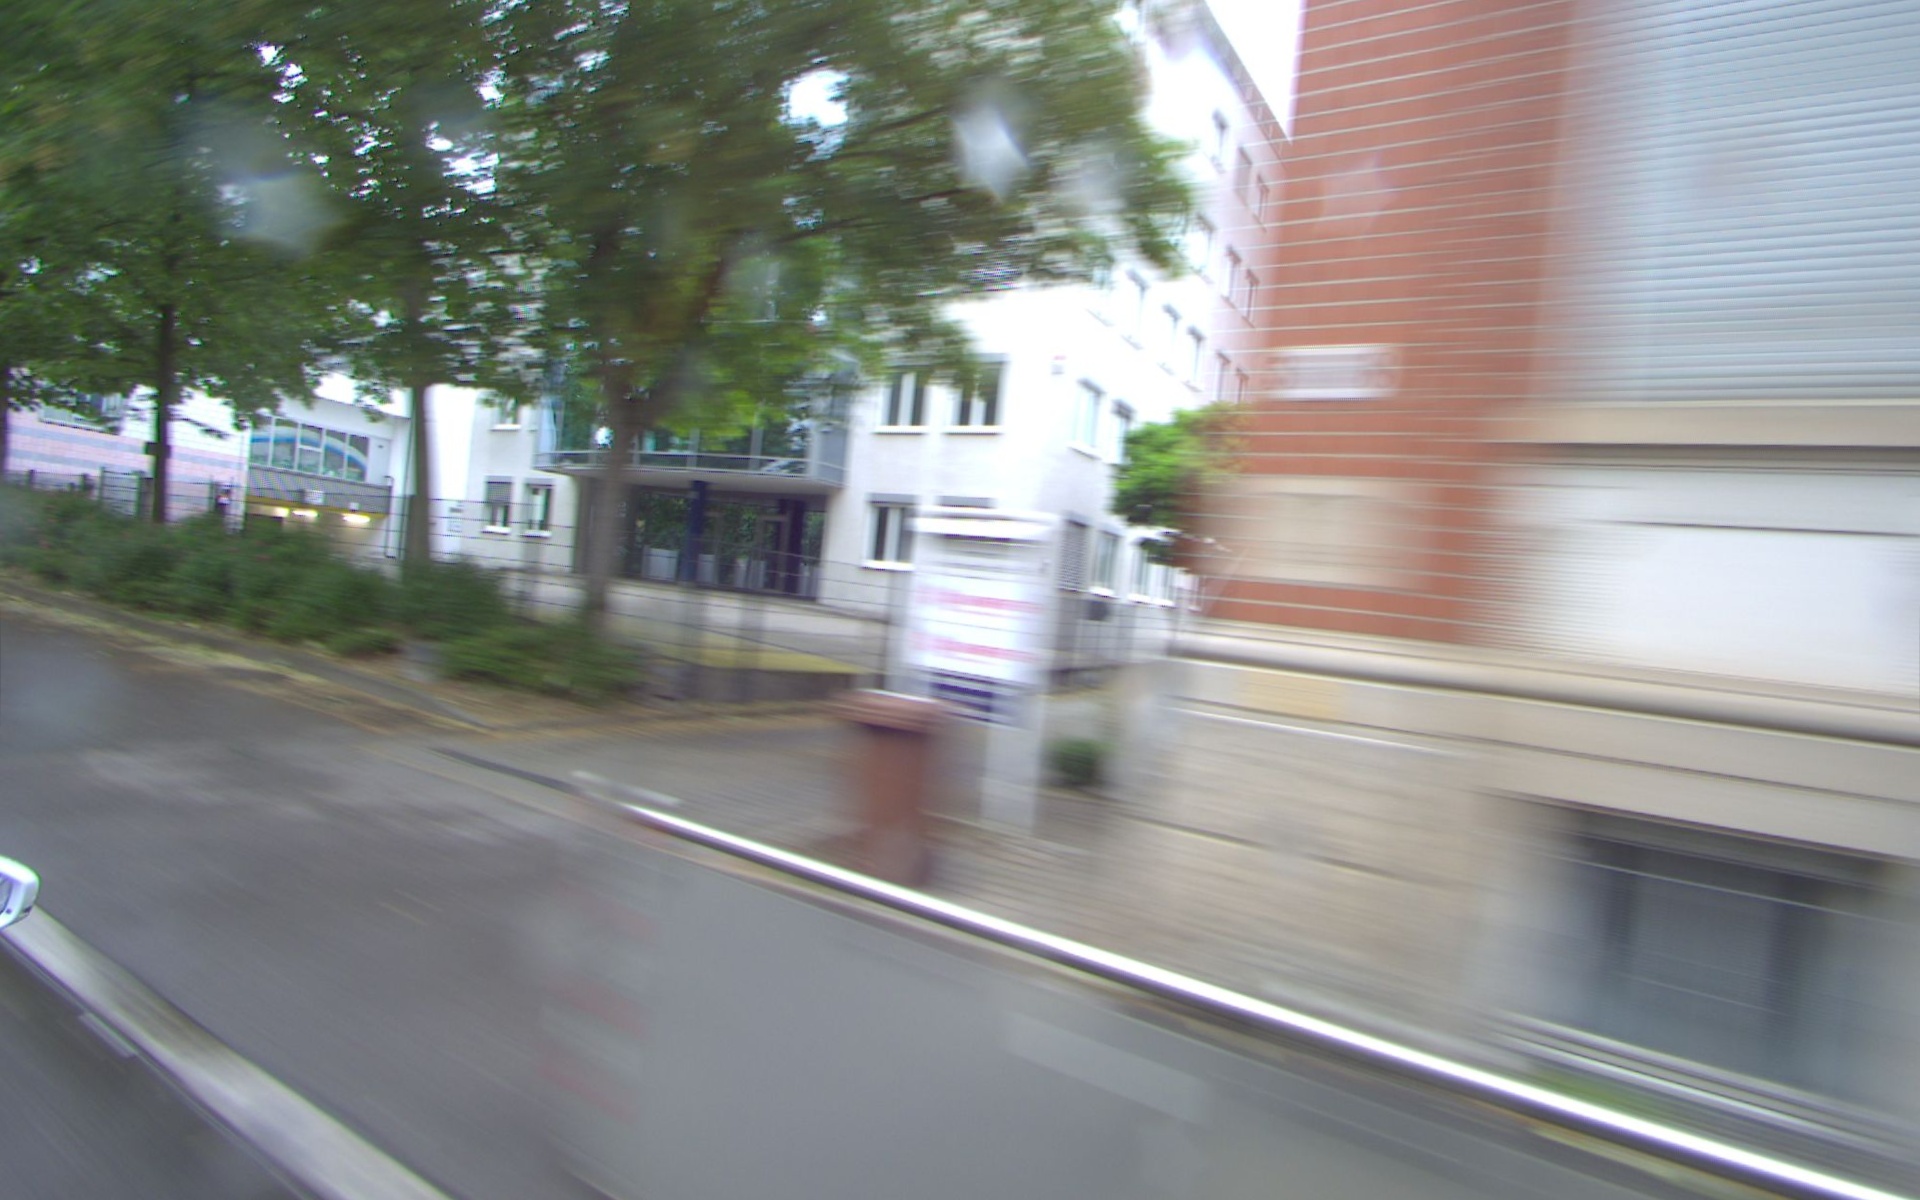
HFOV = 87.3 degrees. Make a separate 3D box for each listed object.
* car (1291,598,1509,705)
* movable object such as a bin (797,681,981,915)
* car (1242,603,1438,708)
[{"bbox_3d":[12.347,1.429,28.374,5.210,2.355,2.035,6,-2,32],"label":"car"},{"bbox_3d":[-0.332,0.905,4.818,0.563,0.945,0.591,7,2,31],"label":"movable object such as a bin"},{"bbox_3d":[9.004,1.304,23.901,3.932,1.971,1.818,6,-2,32],"label":"car"}]
